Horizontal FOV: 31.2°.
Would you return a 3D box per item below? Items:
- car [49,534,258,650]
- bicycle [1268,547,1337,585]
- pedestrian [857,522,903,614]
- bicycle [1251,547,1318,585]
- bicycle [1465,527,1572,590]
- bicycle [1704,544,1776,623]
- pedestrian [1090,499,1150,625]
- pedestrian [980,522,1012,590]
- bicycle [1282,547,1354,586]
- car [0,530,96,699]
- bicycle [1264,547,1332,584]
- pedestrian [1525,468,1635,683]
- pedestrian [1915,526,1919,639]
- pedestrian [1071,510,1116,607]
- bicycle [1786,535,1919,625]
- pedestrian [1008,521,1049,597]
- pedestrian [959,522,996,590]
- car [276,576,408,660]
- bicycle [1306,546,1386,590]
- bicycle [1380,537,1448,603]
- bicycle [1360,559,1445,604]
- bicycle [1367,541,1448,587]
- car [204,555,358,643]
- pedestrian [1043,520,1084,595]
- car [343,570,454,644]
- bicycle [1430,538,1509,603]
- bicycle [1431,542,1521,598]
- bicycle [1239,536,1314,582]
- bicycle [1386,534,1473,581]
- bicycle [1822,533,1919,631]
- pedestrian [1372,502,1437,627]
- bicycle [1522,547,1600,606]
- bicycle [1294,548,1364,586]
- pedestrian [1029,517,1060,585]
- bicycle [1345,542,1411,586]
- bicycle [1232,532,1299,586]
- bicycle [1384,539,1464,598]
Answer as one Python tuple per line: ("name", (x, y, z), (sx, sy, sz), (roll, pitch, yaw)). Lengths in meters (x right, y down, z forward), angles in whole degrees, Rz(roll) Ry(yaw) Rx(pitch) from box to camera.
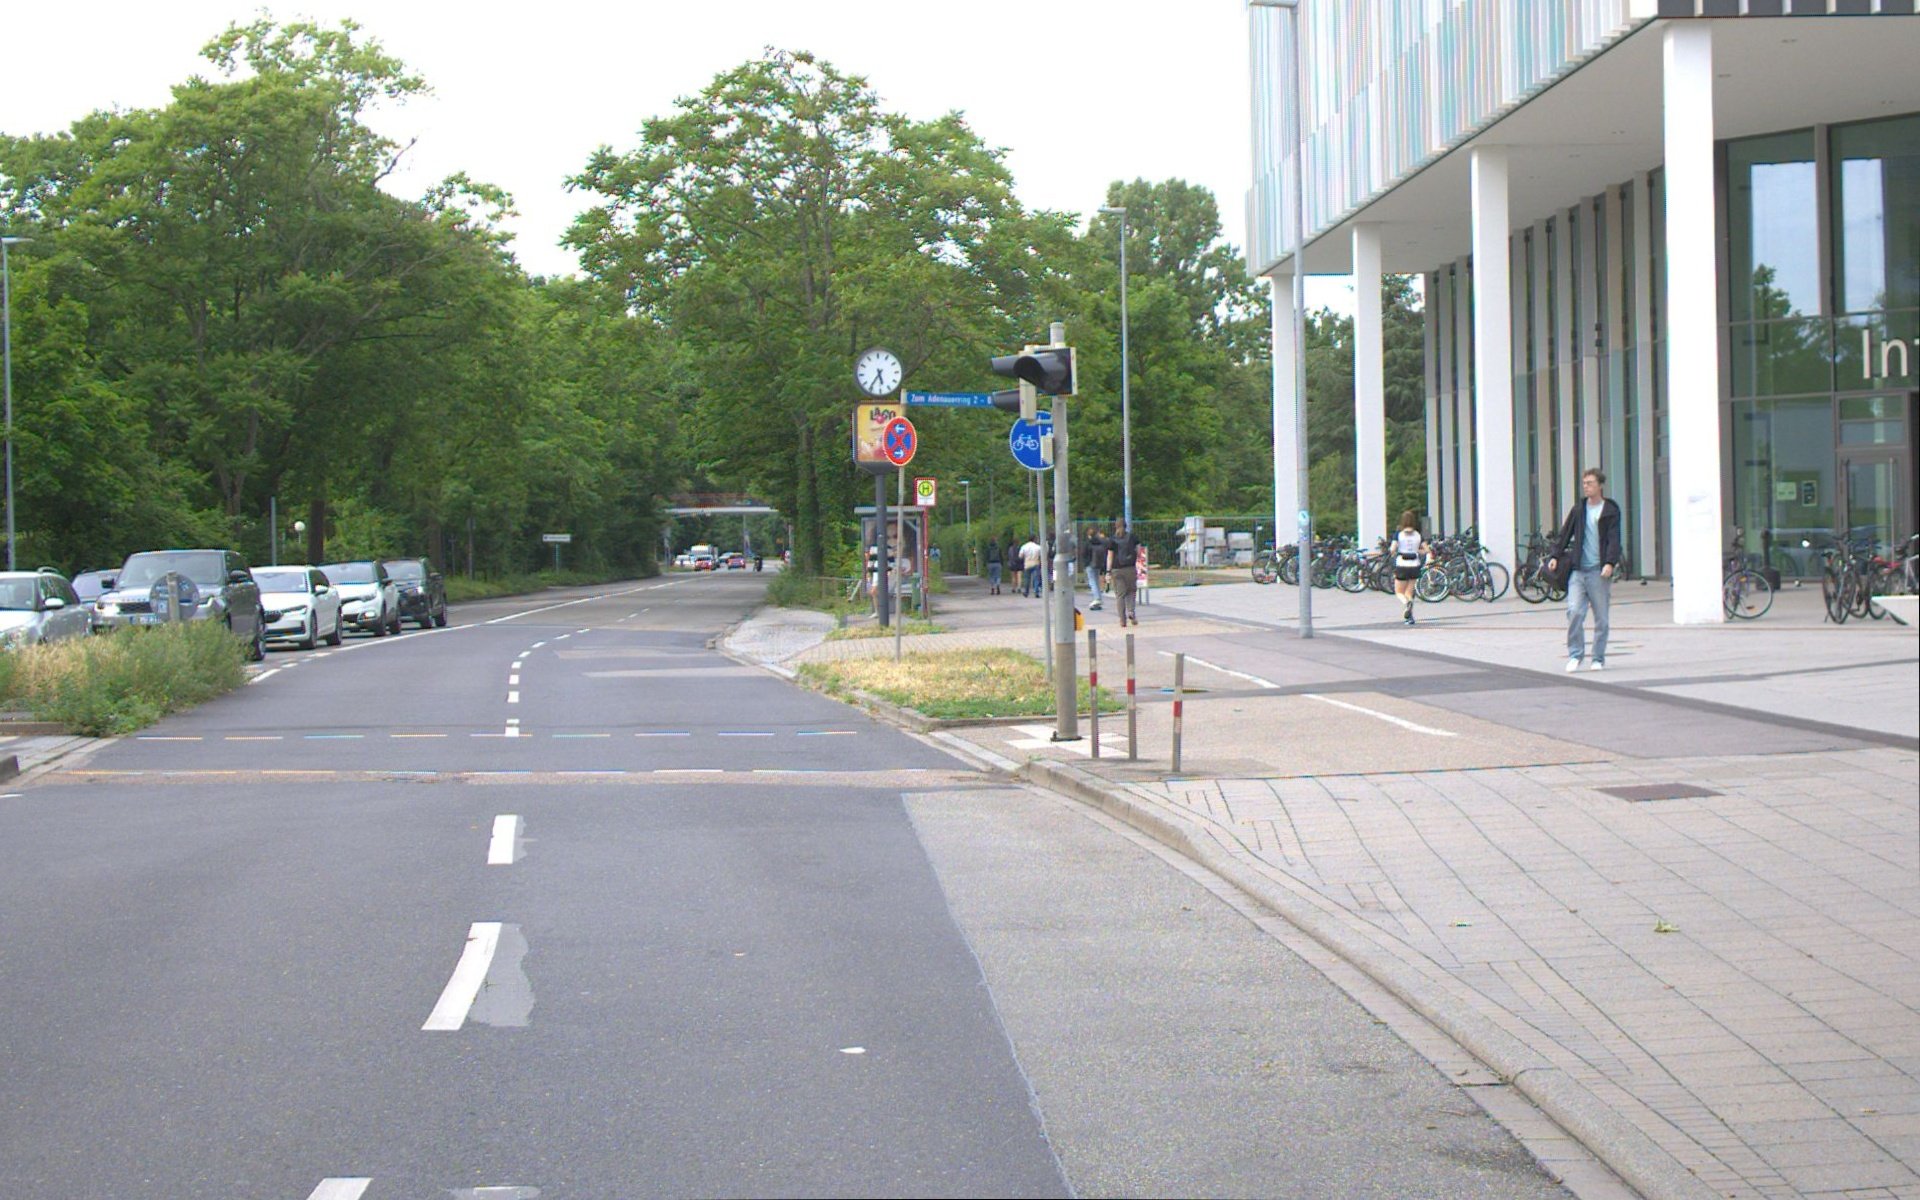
("car", (-12.216, -0.165, 52.405), (1.993, 1.681, 4.948), (0, 1, 0))
("bicycle", (8.546, -0.856, 85.792), (1.606, 0.872, 0.556), (-2, 1, -1))
("pedestrian", (-1.809, -0.723, 77.909), (0.912, 2.006, 0.854), (-3, 3, -3))
("bicycle", (7.467, -0.784, 79.134), (1.454, 0.836, 0.556), (-2, 1, -1))
("bicycle", (11.055, -0.813, 68.059), (1.985, 1.140, 0.647), (-2, 2, 39))
("bicycle", (10.692, -0.234, 47.159), (0.638, 1.058, 1.840), (1, 1, 3))
("pedestrian", (2.632, -0.628, 56.695), (0.842, 2.007, 0.894), (-3, 1, 0))
("pedestrian", (1.063, -1.324, 102.670), (0.823, 2.007, 0.720), (-2, 1, -6))
("bicycle", (8.110, -0.762, 77.913), (1.532, 0.831, 0.556), (-2, 1, -1))
("car", (-12.240, 0.171, 42.858), (1.993, 2.007, 4.000), (-2, 1, -2))
("bicycle", (8.483, -0.867, 86.377), (1.606, 0.872, 0.556), (-2, 1, -1))
("pedestrian", (5.909, -0.236, 32.809), (0.842, 2.007, 0.894), (-1, 1, 0))
("pedestrian", (10.759, -0.198, 36.699), (0.844, 1.202, 0.893), (-1, 1, 32))
("pedestrian", (2.800, -0.874, 72.399), (0.842, 2.007, 0.894), (-1, 1, -2))
("bicycle", (11.757, -0.269, 45.067), (2.177, 1.112, 0.736), (-2, 1, -45))
("pedestrian", (1.840, -1.113, 92.964), (0.925, 2.007, 1.040), (-2, 1, -6))
("pedestrian", (0.515, -1.305, 102.501), (0.925, 2.007, 1.040), (-2, 1, -6))
("car", (-12.558, 0.335, 70.089), (1.993, 1.541, 4.180), (-3, 1, -2))
("bicycle", (8.251, -0.691, 73.509), (1.606, 0.872, 0.556), (-2, 1, -1))
("bicycle", (8.194, -0.549, 62.161), (0.635, 1.136, 2.201), (-4, 1, -6))
("bicycle", (8.907, -0.375, 69.229), (1.606, 0.872, 0.556), (-2, 1, -1))
("bicycle", (9.636, -0.770, 74.023), (1.692, 0.943, 0.516), (-1, 1, 5))
("car", (-12.005, -0.041, 61.052), (1.903, 1.460, 4.911), (1, 1, -2))
("pedestrian", (2.803, -1.147, 92.841), (0.925, 2.007, 1.040), (-2, 1, -6))
("car", (-12.877, 0.131, 79.042), (1.903, 1.588, 4.517), (-2, 1, -2))
("bicycle", (8.786, -0.515, 59.371), (0.607, 1.076, 1.963), (-4, 1, -13))
("bicycle", (9.734, -0.566, 64.877), (1.607, 0.932, 0.568), (-4, 1, 9))
("bicycle", (8.218, -1.074, 89.326), (1.794, 1.078, 0.626), (-4, 1, -3))
("bicycle", (9.140, -0.836, 66.941), (1.606, 0.872, 0.556), (-2, 1, -1))
("bicycle", (12.040, -0.250, 43.643), (2.713, 1.184, 0.774), (-2, 1, -43))
("pedestrian", (6.609, -0.533, 51.175), (0.842, 1.829, 0.894), (-1, 1, 2))
("bicycle", (10.069, -0.392, 57.586), (1.484, 0.926, 0.440), (-3, 3, -41))
("bicycle", (8.965, -0.804, 83.597), (1.606, 0.872, 0.556), (-2, 1, -1))
("pedestrian", (2.534, -1.472, 102.778), (0.824, 2.007, 0.720), (-2, 1, -2))
("bicycle", (8.840, -0.769, 72.718), (1.283, 0.872, 0.556), (-2, 1, -1))
("bicycle", (8.086, -1.083, 91.102), (1.648, 1.329, 0.463), (-3, 0, 11))
("bicycle", (8.876, -0.600, 65.770), (1.400, 1.040, 0.559), (-3, 1, -1))
